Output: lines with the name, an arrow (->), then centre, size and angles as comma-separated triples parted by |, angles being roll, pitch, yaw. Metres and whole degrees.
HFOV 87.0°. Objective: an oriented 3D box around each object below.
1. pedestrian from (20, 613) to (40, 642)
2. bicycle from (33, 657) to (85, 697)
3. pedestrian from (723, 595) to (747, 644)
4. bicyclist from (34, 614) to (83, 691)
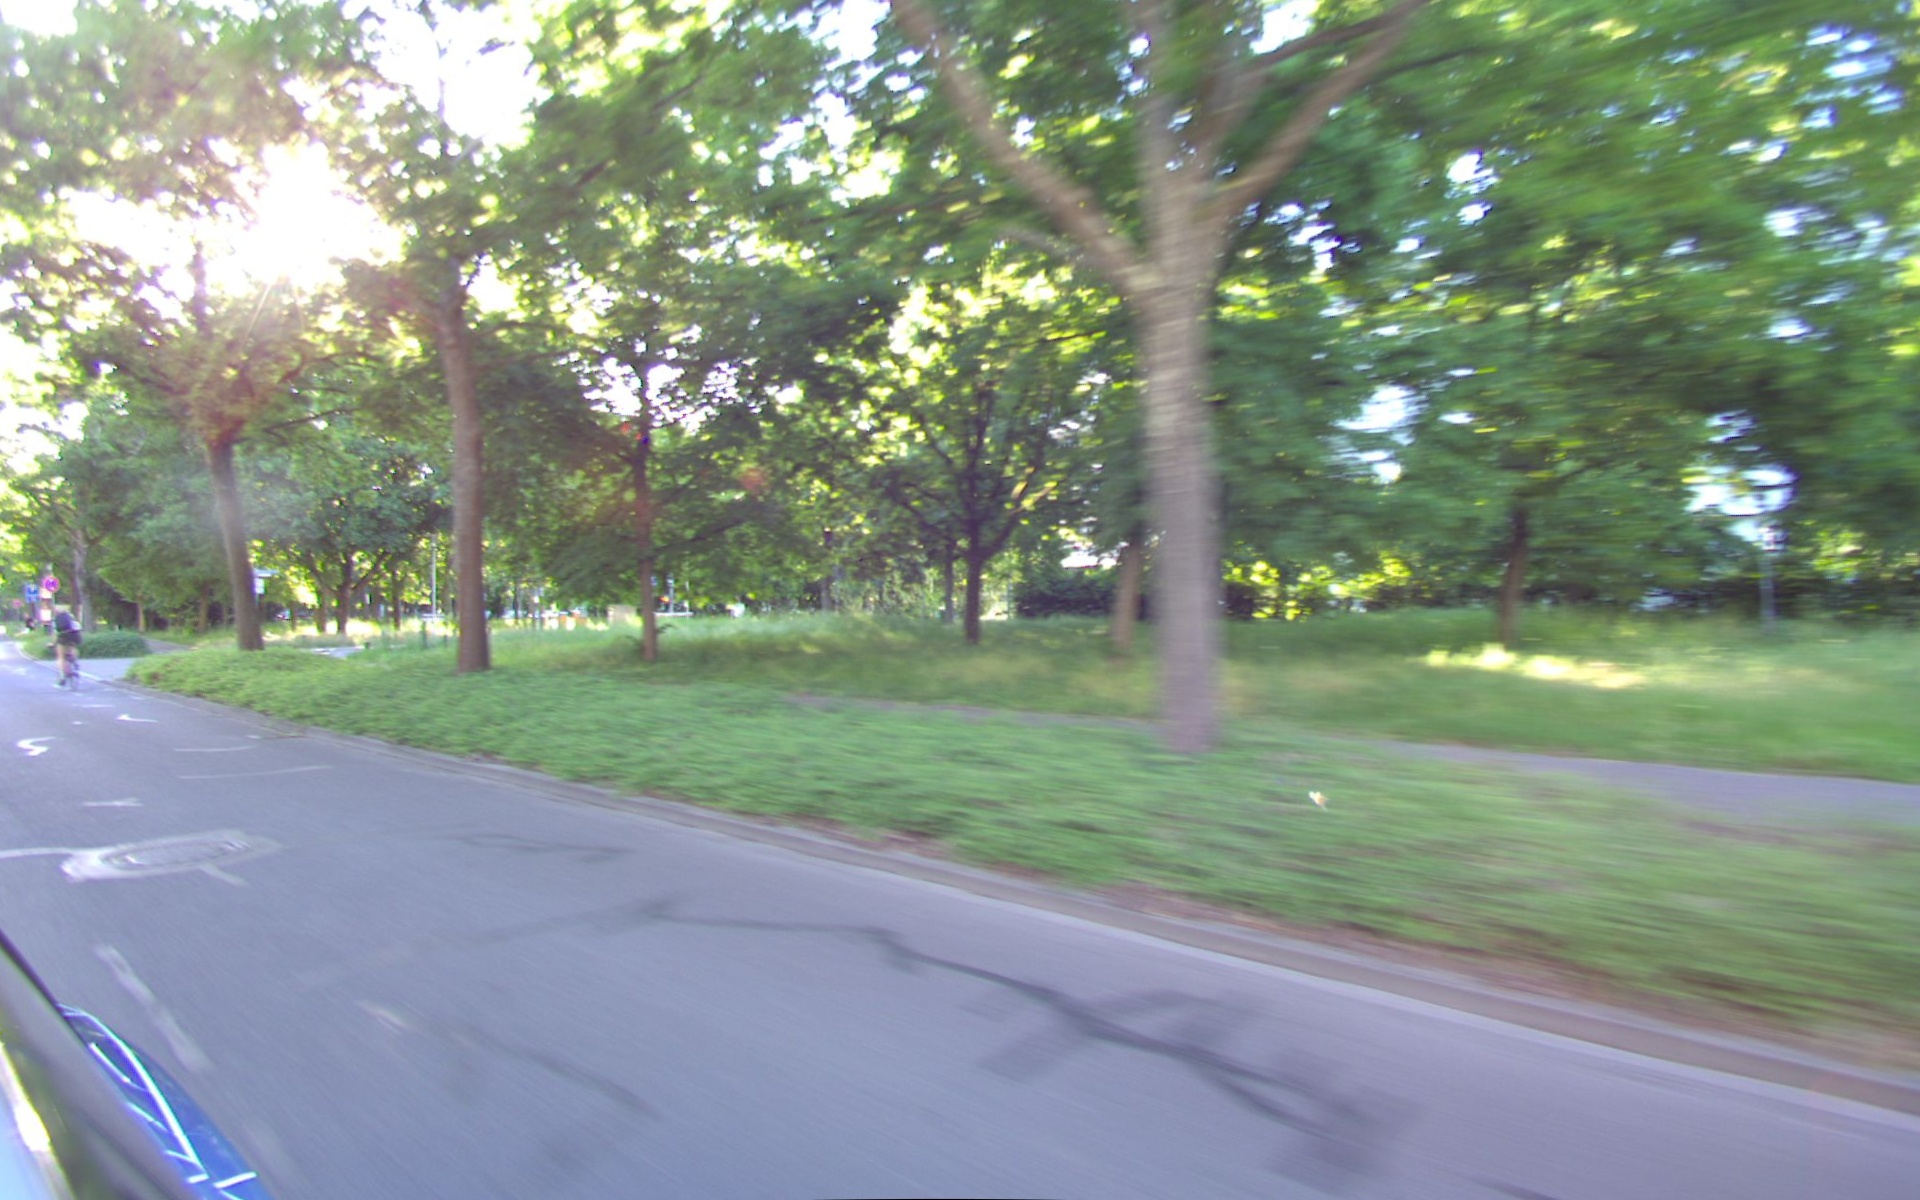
pedestrian -> -57.979, 1.711, 63.084 | 0.720, 1.835, 0.893 | -2, -1, 43
bicycle -> -18.898, 1.588, 21.212 | 2.126, 0.747, 0.632 | -1, -3, 44
pedestrian -> -9.622, 0.826, 43.250 | 0.590, 2.029, 0.748 | -1, 0, 44
bicyclist -> -18.998, 1.100, 21.324 | 1.002, 1.567, 0.626 | -2, -3, 43
